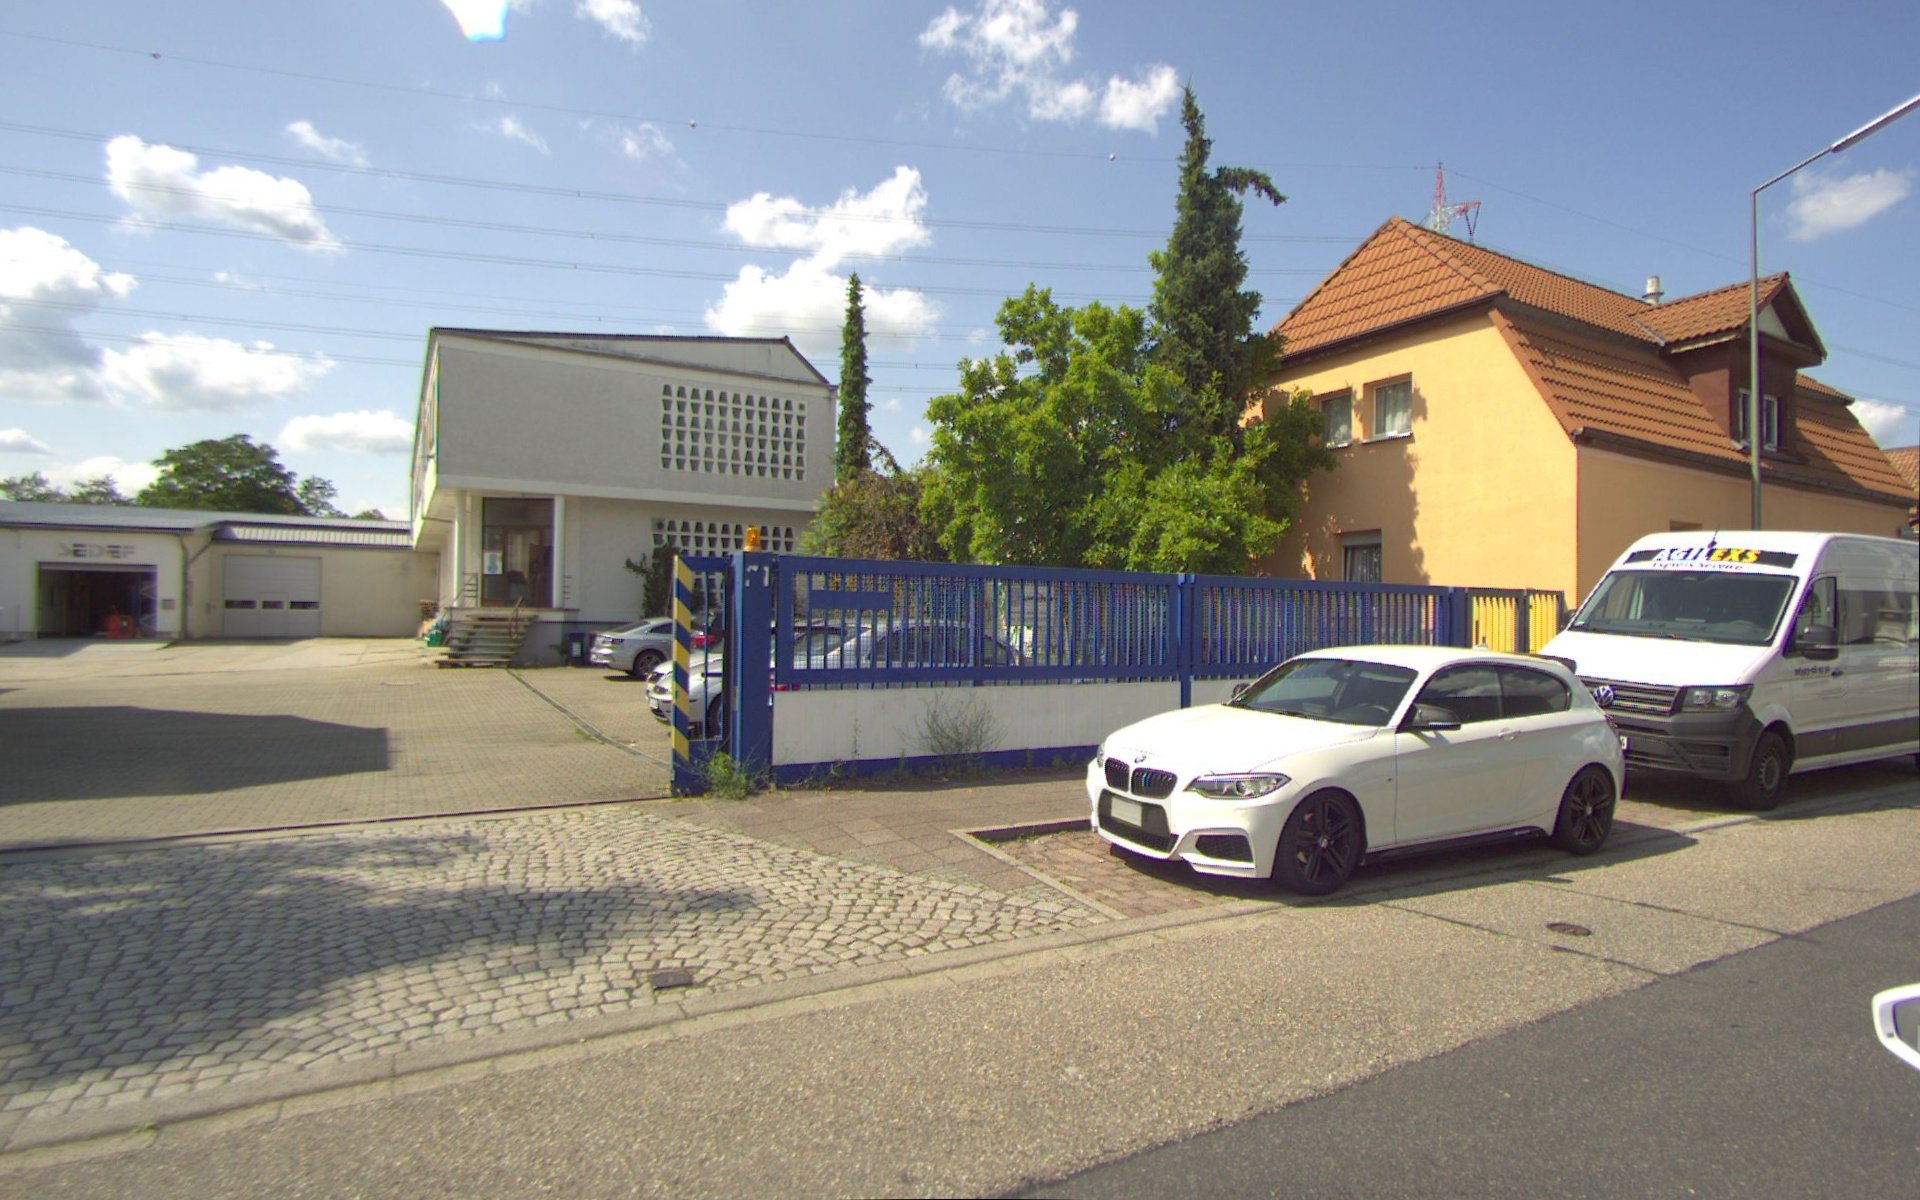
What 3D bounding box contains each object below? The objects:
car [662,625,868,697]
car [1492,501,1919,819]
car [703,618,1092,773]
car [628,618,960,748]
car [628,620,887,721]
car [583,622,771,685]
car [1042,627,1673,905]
[{"bbox_3d":[-4.151,1.275,21.473,3.953,1.335,1.837,2,0,-30],"label":"car"},{"bbox_3d":[8.691,0.569,10.829,6.762,2.595,2.016,2,0,-31],"label":"car"},{"bbox_3d":[-0.699,0.987,11.607,4.090,1.482,1.859,0,-2,-28],"label":"car"},{"bbox_3d":[-2.306,1.052,14.126,4.255,1.487,1.793,-1,0,-27],"label":"car"},{"bbox_3d":[-3.429,1.119,17.134,3.953,1.509,1.837,1,0,-30],"label":"car"},{"bbox_3d":[-6.694,1.249,23.836,3.953,1.331,1.837,2,0,-30],"label":"car"},{"bbox_3d":[2.946,0.966,7.211,4.447,1.416,1.788,2,0,-29],"label":"car"}]
